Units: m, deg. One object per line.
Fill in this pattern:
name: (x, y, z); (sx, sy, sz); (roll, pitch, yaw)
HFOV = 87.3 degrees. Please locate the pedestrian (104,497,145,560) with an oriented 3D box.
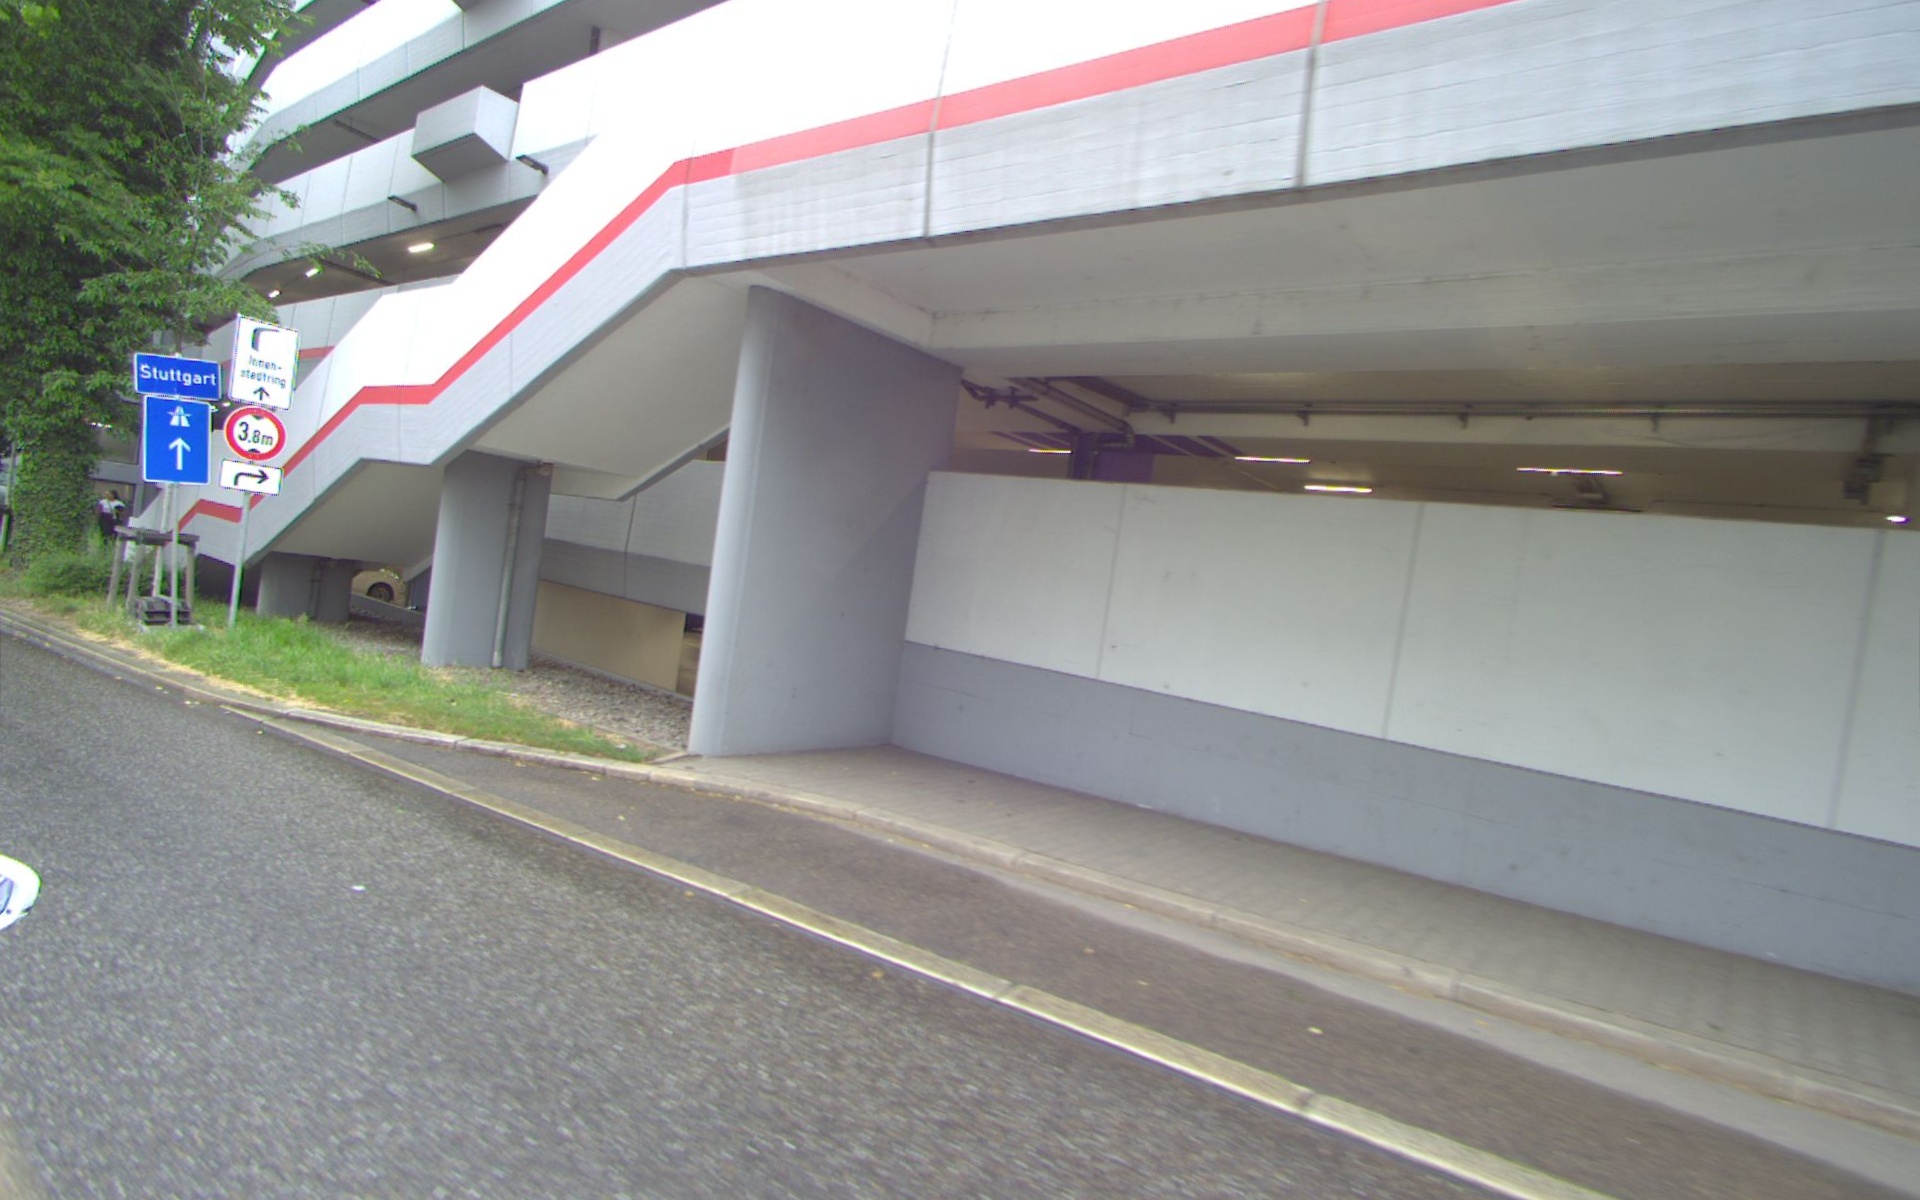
pedestrian: (-21.653, -1.857, 26.076); (0.496, 1.519, 0.582); (6, -1, 37)

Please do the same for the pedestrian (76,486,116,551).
pedestrian: (-22.027, -2.080, 25.651); (0.481, 1.550, 0.551); (6, -1, 39)
